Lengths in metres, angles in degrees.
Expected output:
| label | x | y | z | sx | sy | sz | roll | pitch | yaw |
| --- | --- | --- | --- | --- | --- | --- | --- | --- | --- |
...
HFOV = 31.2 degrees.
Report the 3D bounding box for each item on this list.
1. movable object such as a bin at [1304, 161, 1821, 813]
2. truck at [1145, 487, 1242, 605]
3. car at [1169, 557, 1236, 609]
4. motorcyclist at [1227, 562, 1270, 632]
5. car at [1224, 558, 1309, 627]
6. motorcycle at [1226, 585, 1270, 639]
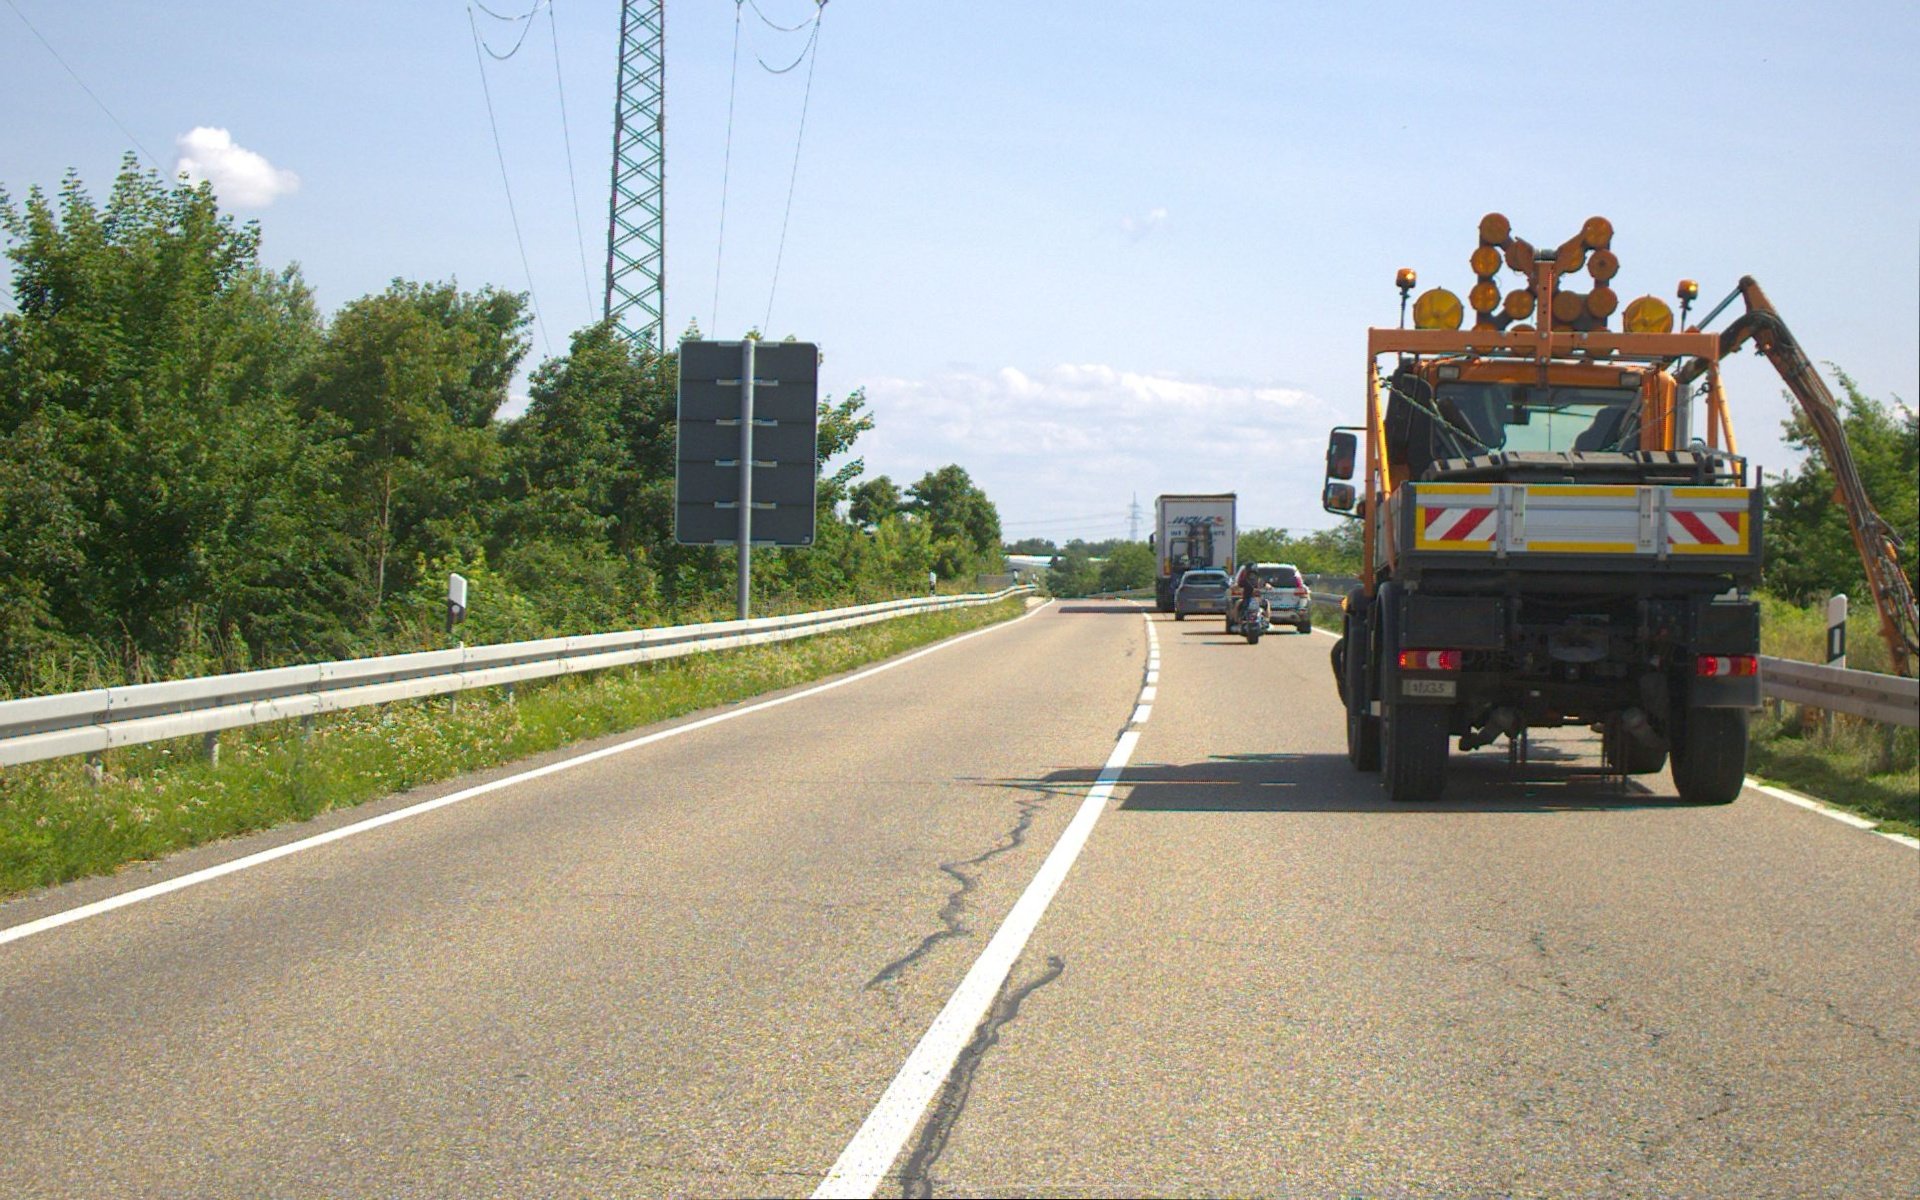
| label | x | y | z | sx | sy | sz | roll | pitch | yaw |
| --- | --- | --- | --- | --- | --- | --- | --- | --- | --- |
| movable object such as a bin | 4.014 | -0.754 | 24.994 | 2.754 | 3.826 | 9.444 | 1 | 1 | 4 |
| truck | 8.247 | -1.865 | 121.329 | 3.242 | 3.965 | 9.442 | 1 | 0 | 4 |
| car | 6.887 | -0.505 | 97.870 | 1.866 | 1.415 | 4.000 | 1 | 1 | 4 |
| motorcyclist | 5.495 | -0.060 | 65.501 | 0.780 | 1.321 | 0.813 | 1 | 1 | 4 |
| car | 6.774 | -0.187 | 76.222 | 1.826 | 1.446 | 4.000 | 1 | 1 | 4 |
| motorcycle | 5.481 | 0.220 | 65.485 | 0.780 | 0.972 | 2.361 | 1 | 1 | 4 |
